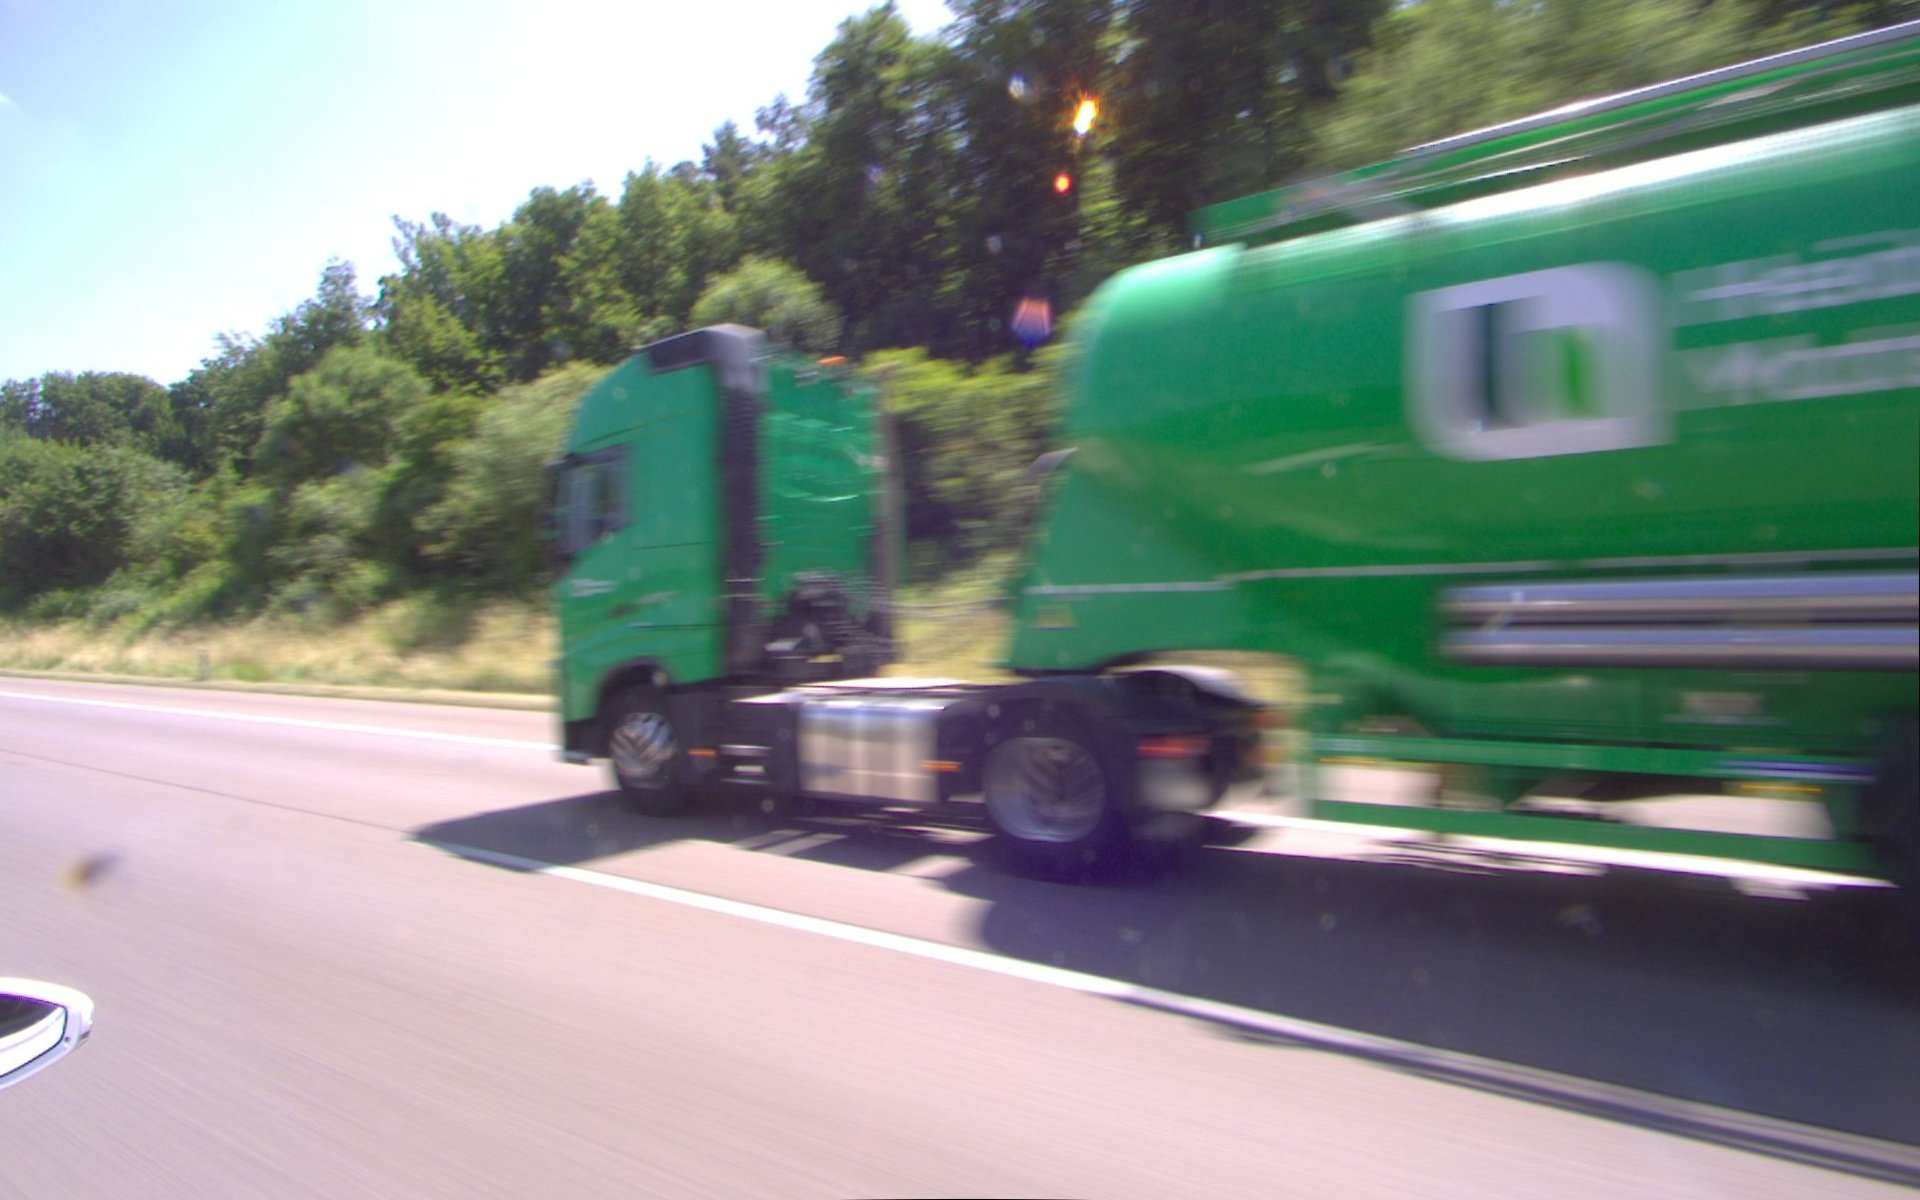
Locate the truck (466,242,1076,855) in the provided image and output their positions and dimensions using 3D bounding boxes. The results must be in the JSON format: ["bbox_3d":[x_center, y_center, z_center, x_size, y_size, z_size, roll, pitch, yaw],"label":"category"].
[{"bbox_3d":[-1.713,-0.278,8.722,4.822,3.891,2.505,0,-1,33],"label":"truck"}]

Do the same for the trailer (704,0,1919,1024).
[{"bbox_3d":[3.131,-0.449,5.486,10.325,4.080,2.581,0,-1,34],"label":"trailer"}]
